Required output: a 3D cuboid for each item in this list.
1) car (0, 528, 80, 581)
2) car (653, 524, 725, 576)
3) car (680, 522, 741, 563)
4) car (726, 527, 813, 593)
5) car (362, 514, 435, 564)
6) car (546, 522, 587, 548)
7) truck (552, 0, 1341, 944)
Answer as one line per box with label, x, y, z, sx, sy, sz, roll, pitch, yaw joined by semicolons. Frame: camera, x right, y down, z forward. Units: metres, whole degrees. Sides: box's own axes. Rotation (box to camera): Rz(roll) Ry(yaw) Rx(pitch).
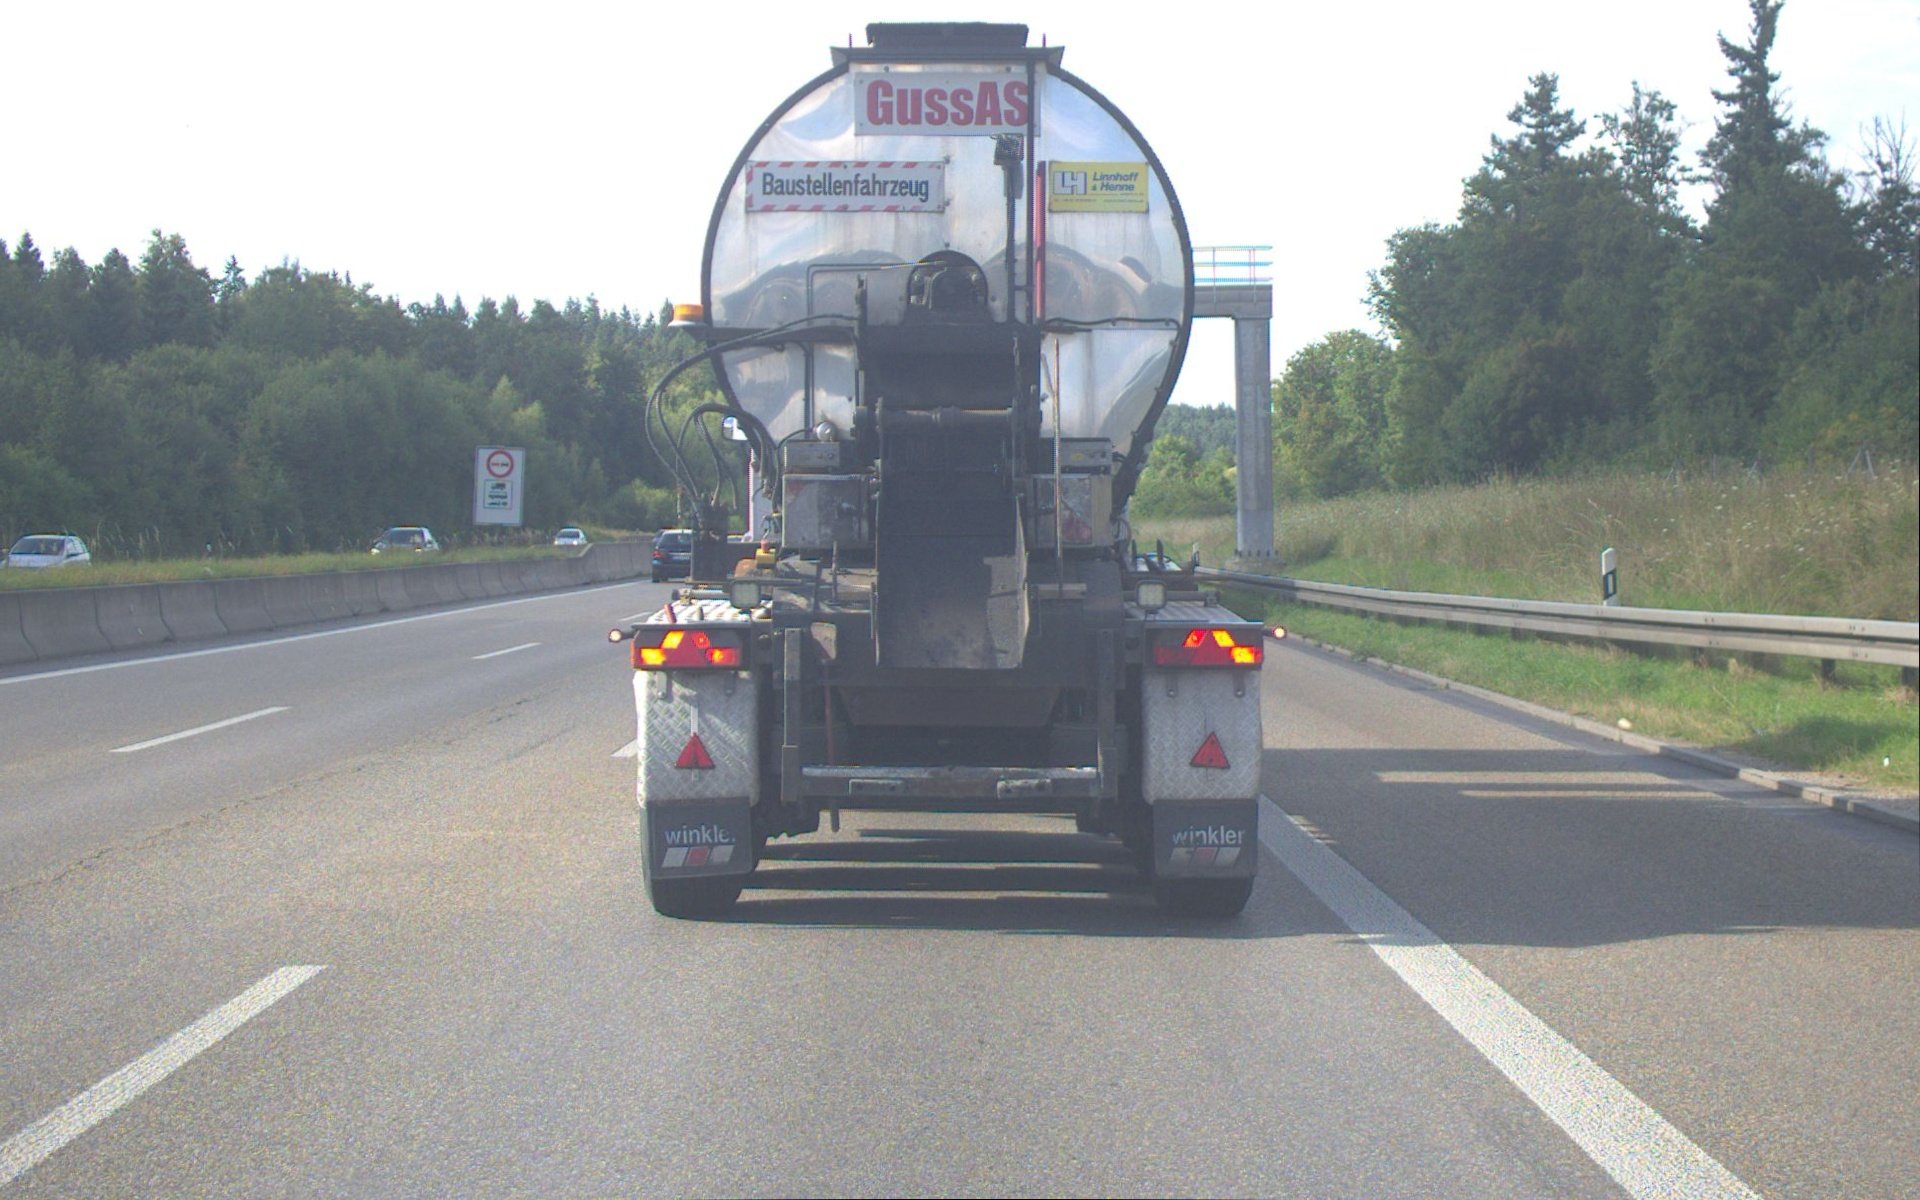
car;-23.489;-1.162;86.477;1.816;1.286;3.544;0;1;0
car;-8.074;-1.508;102.769;1.835;1.512;4.333;0;1;0
car;-8.888;-2.044;122.717;1.856;1.426;4.841;0;1;0
car;-4.485;-0.969;81.330;1.835;1.512;4.333;0;1;0
car;-19.506;-2.133;119.522;1.906;1.711;4.000;0;1;0
car;-23.262;-3.856;203.197;1.950;1.534;4.327;0;1;0
truck;-0.057;-0.916;18.391;2.912;4.143;11.270;0;1;0
